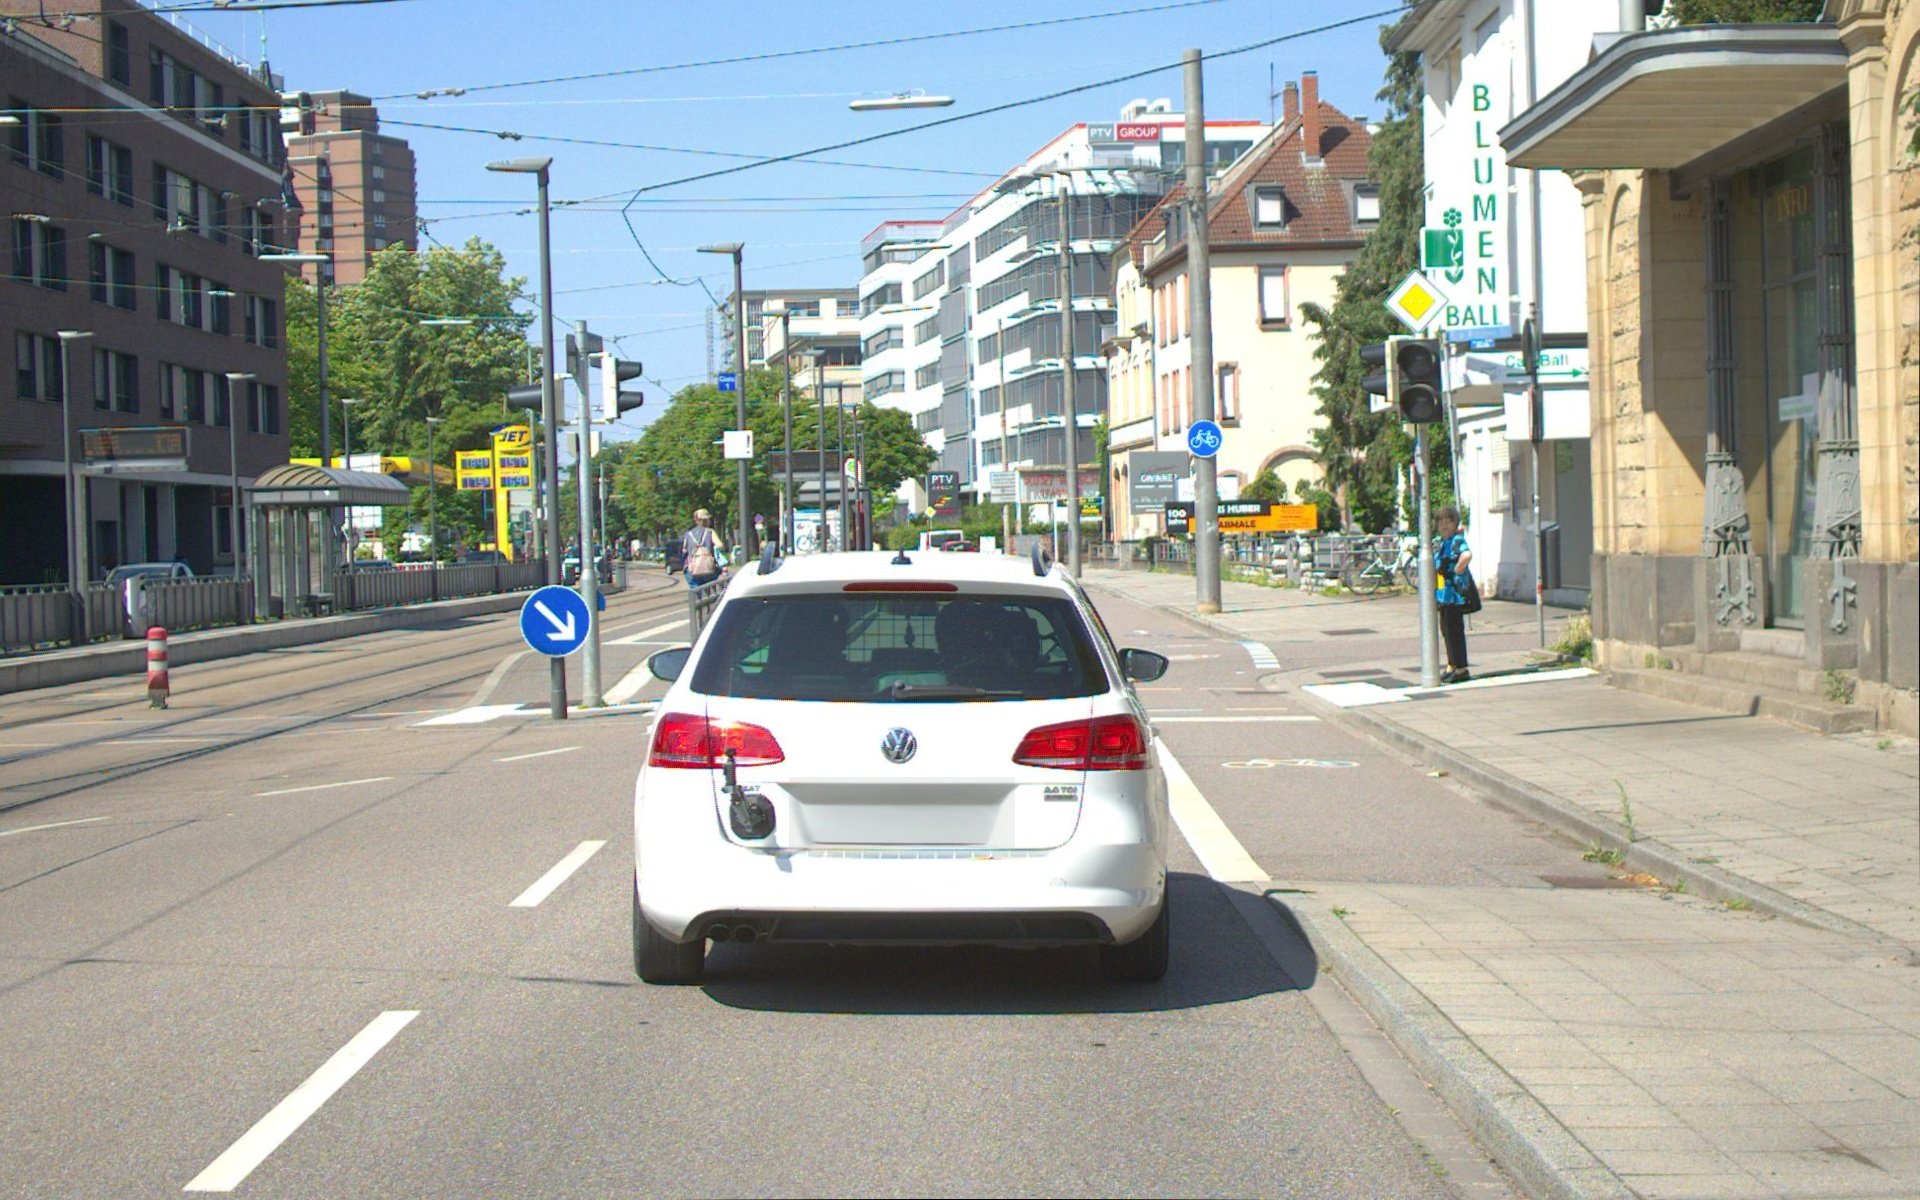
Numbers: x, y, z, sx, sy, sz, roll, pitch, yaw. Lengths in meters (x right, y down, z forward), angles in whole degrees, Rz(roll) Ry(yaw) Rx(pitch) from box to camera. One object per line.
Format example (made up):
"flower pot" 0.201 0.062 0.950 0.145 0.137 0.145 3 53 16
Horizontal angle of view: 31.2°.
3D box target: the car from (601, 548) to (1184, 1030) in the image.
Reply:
"car" -0.188 0.541 12.310 1.753 1.413 3.853 0 1 1

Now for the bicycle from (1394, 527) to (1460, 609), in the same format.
"bicycle" 6.835 -0.474 50.257 0.726 1.135 2.193 -2 1 13

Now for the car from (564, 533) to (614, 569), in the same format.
"car" -15.771 -2.095 146.355 1.668 1.461 3.773 -2 1 0

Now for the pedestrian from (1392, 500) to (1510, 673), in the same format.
"pedestrian" 4.393 -0.127 30.705 0.780 1.505 0.857 -1 1 26

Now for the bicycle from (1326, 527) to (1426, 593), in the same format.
"bicycle" 7.447 -0.720 61.612 1.712 1.126 0.525 -2 1 2

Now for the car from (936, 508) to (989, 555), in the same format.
"car" 0.100 -3.047 152.365 1.993 2.007 4.001 -2 1 -4

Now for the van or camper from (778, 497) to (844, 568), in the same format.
"van or camper" -7.057 -3.201 161.999 2.943 3.169 6.614 -2 1 -3

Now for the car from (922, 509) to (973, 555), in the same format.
"car" -0.591 -3.138 157.791 1.993 2.007 4.001 -2 1 -4

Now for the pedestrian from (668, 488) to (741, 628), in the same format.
"pedestrian" -3.375 -0.557 45.462 0.826 1.803 0.833 -2 1 1

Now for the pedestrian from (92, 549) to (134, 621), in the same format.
"pedestrian" -21.563 -0.393 87.532 0.725 1.784 0.964 -3 1 0
